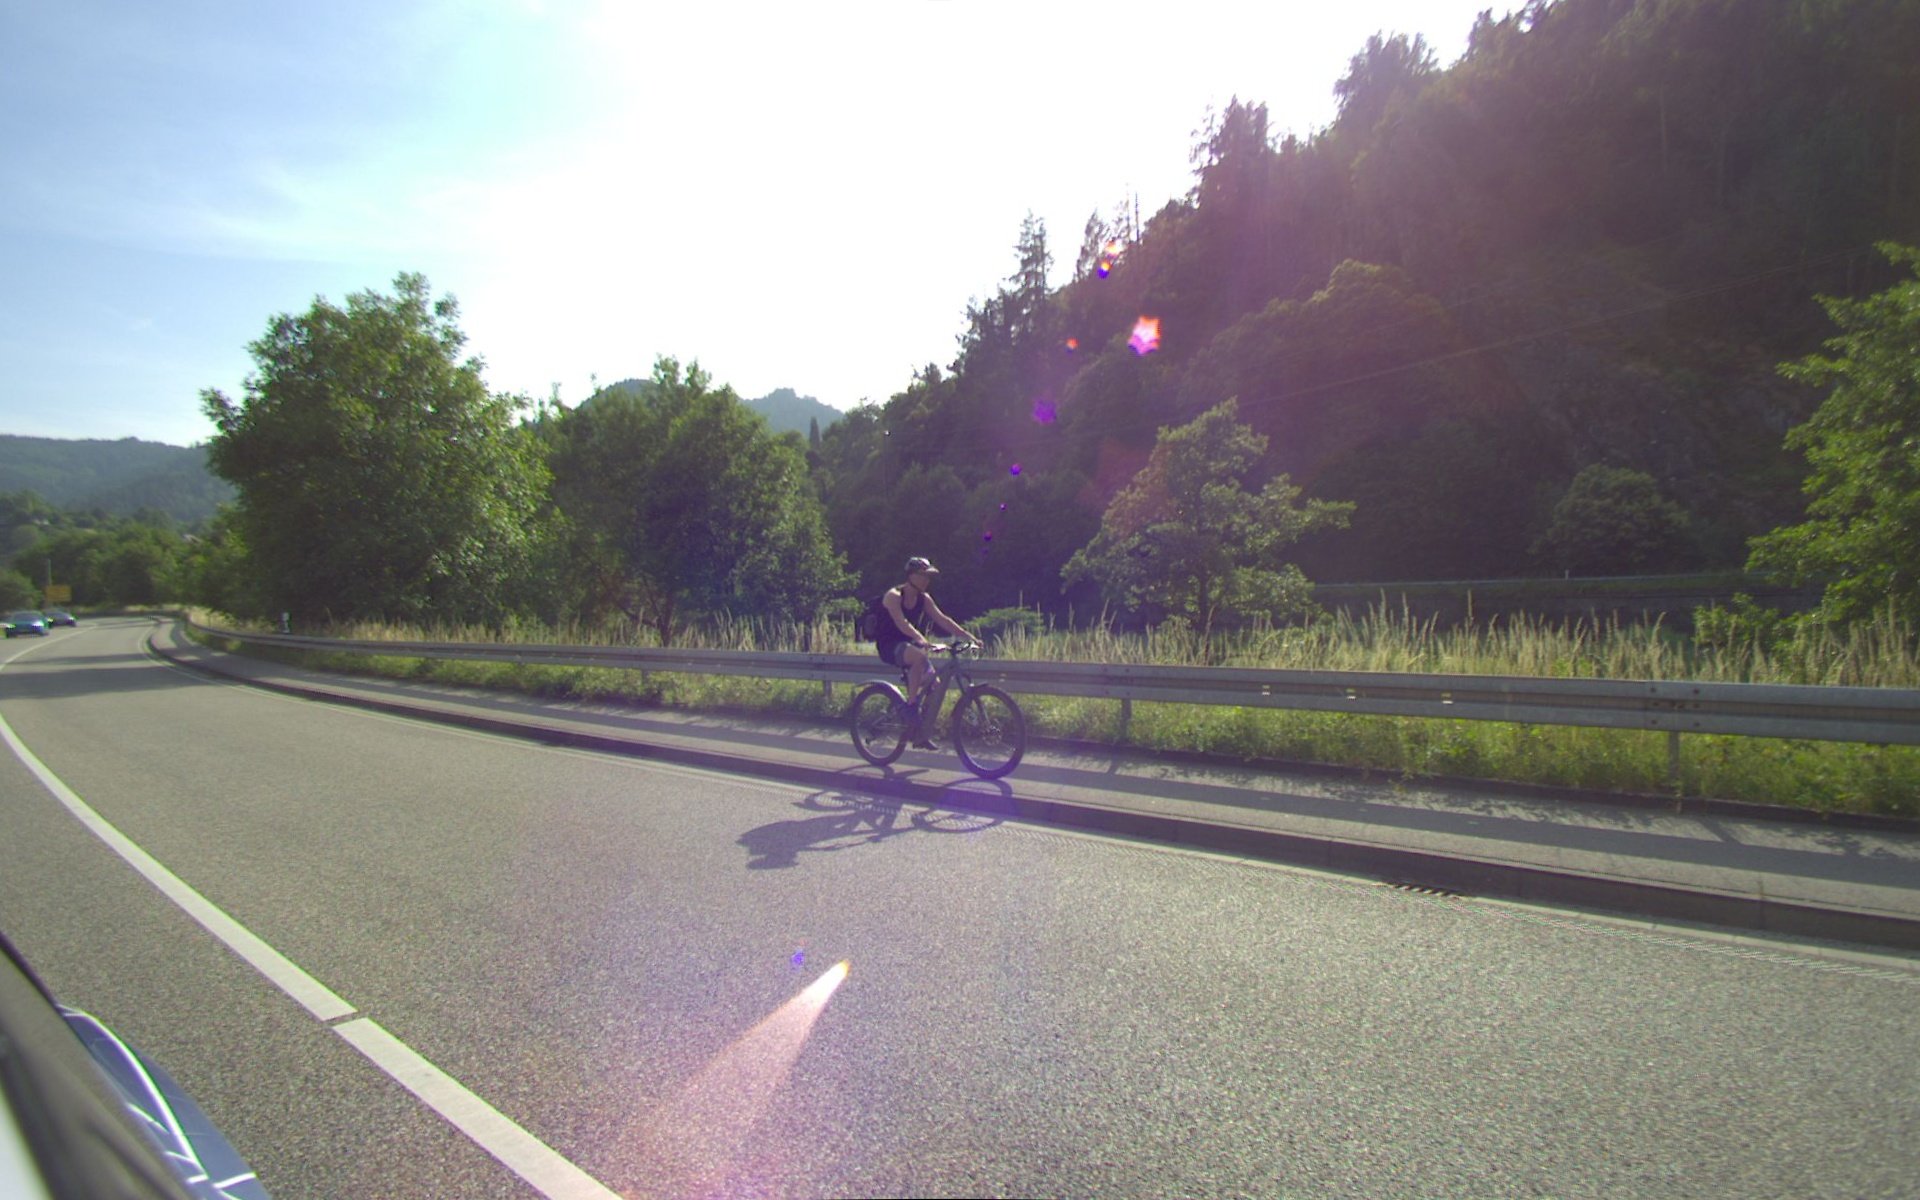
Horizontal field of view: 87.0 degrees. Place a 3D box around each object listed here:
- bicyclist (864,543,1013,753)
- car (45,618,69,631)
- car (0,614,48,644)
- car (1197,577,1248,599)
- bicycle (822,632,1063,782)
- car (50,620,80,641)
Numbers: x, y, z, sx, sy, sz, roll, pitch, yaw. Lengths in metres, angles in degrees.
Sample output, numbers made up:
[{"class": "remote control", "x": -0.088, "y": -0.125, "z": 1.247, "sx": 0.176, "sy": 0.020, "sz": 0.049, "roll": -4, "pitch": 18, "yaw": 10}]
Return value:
[{"class": "bicyclist", "x": -0.186, "y": 0.375, "z": 8.356, "sx": 1.036, "sy": 1.598, "sz": 0.551, "roll": -3, "pitch": 2, "yaw": 45}, {"class": "car", "x": -112.555, "y": 3.047, "z": 126.136, "sx": 3.995, "sy": 1.490, "sz": 1.562, "roll": -1, "pitch": -1, "yaw": 39}, {"class": "car", "x": -56.997, "y": 1.745, "z": 61.635, "sx": 1.856, "sy": 1.758, "sz": 4.186, "roll": 0, "pitch": -1, "yaw": -39}, {"class": "car", "x": 23.446, "y": -1.052, "z": 90.452, "sx": 1.849, "sy": 1.745, "sz": 4.003, "roll": -6, "pitch": 4, "yaw": -44}, {"class": "bicycle", "x": -0.212, "y": 0.827, "z": 8.440, "sx": 0.551, "sy": 1.053, "sz": 2.230, "roll": -6, "pitch": 3, "yaw": -45}, {"class": "car", "x": -75.687, "y": 2.571, "z": 85.599, "sx": 1.857, "sy": 1.758, "sz": 4.183, "roll": 0, "pitch": -1, "yaw": -42}]
